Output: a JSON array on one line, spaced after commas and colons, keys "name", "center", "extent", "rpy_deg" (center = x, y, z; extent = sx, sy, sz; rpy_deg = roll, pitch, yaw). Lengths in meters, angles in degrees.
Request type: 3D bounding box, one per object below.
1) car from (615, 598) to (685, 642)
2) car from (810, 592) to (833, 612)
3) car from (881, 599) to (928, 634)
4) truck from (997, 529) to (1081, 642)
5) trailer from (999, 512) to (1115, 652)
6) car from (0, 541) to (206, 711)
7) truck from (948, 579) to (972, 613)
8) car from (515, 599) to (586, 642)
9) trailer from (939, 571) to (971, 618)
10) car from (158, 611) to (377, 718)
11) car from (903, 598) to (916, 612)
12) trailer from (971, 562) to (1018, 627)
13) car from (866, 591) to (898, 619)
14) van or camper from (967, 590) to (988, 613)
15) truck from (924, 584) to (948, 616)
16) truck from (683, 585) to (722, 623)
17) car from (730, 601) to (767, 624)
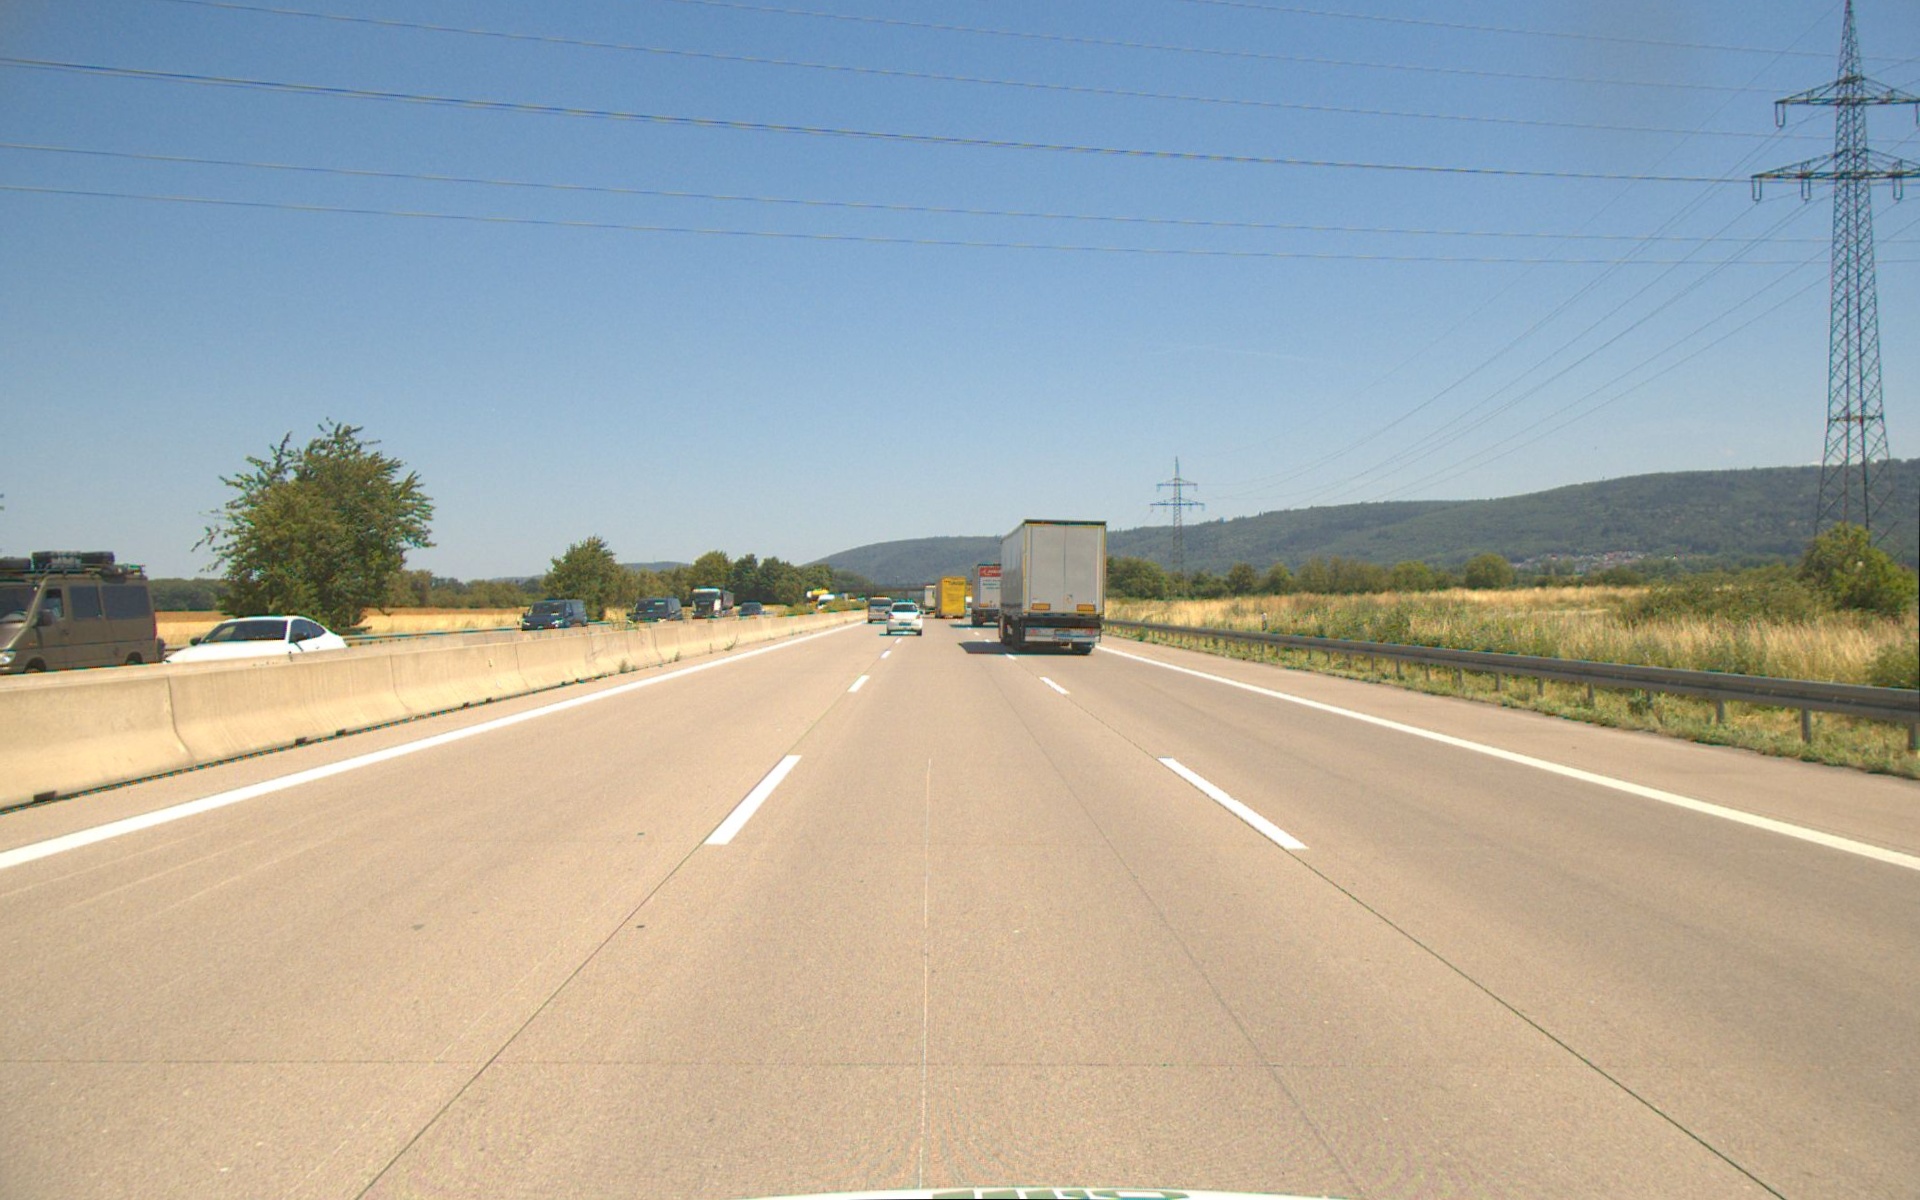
[{"name": "car", "center": [-13.688, 0.857, 73.390], "extent": [1.953, 1.858, 5.824], "rpy_deg": [1, 0, 0]}, {"name": "car", "center": [-15.971, 0.236, 191.265], "extent": [2.165, 2.227, 6.323], "rpy_deg": [1, 0, -1]}, {"name": "car", "center": [-2.613, 0.780, 78.595], "extent": [2.064, 1.563, 4.122], "rpy_deg": [1, 0, 0]}, {"name": "truck", "center": [2.966, -0.526, 63.849], "extent": [2.923, 4.133, 5.477], "rpy_deg": [1, 0, 0]}, {"name": "trailer", "center": [3.055, -0.525, 56.445], "extent": [2.956, 4.132, 14.204], "rpy_deg": [1, 0, -1]}, {"name": "car", "center": [-16.840, 0.416, 31.045], "extent": [2.202, 2.835, 6.791], "rpy_deg": [1, 0, 0]}, {"name": "truck", "center": [-0.068, -0.505, 219.995], "extent": [2.938, 4.390, 9.681], "rpy_deg": [1, 0, -1]}, {"name": "car", "center": [-18.081, 0.881, 73.159], "extent": [2.126, 1.821, 4.000], "rpy_deg": [1, 0, 0]}, {"name": "trailer", "center": [-0.626, -0.553, 173.642], "extent": [3.150, 4.643, 13.454], "rpy_deg": [1, 0, -1]}, {"name": "car", "center": [-12.174, 1.075, 29.494], "extent": [1.835, 1.681, 5.106], "rpy_deg": [1, 0, -1]}, {"name": "car", "center": [-7.170, 0.704, 234.972], "extent": [1.747, 1.914, 3.999], "rpy_deg": [1, 0, -1]}, {"name": "trailer", "center": [2.268, -0.341, 112.662], "extent": [2.815, 4.172, 13.511], "rpy_deg": [1, 0, 0]}, {"name": "car", "center": [-5.814, 0.387, 124.141], "extent": [2.208, 2.049, 4.297], "rpy_deg": [1, 0, 0]}, {"name": "van or camper", "center": [2.033, 0.191, 192.443], "extent": [2.179, 2.575, 5.429], "rpy_deg": [1, 0, -1]}, {"name": "truck", "center": [-3.357, -0.009, 231.475], "extent": [3.285, 4.347, 8.227], "rpy_deg": [1, 0, -1]}, {"name": "truck", "center": [-23.431, 0.327, 150.755], "extent": [2.749, 3.362, 5.612], "rpy_deg": [1, 0, -1]}, {"name": "car", "center": [-14.122, 0.811, 110.438], "extent": [1.953, 1.473, 4.681], "rpy_deg": [1, 0, -2]}]
